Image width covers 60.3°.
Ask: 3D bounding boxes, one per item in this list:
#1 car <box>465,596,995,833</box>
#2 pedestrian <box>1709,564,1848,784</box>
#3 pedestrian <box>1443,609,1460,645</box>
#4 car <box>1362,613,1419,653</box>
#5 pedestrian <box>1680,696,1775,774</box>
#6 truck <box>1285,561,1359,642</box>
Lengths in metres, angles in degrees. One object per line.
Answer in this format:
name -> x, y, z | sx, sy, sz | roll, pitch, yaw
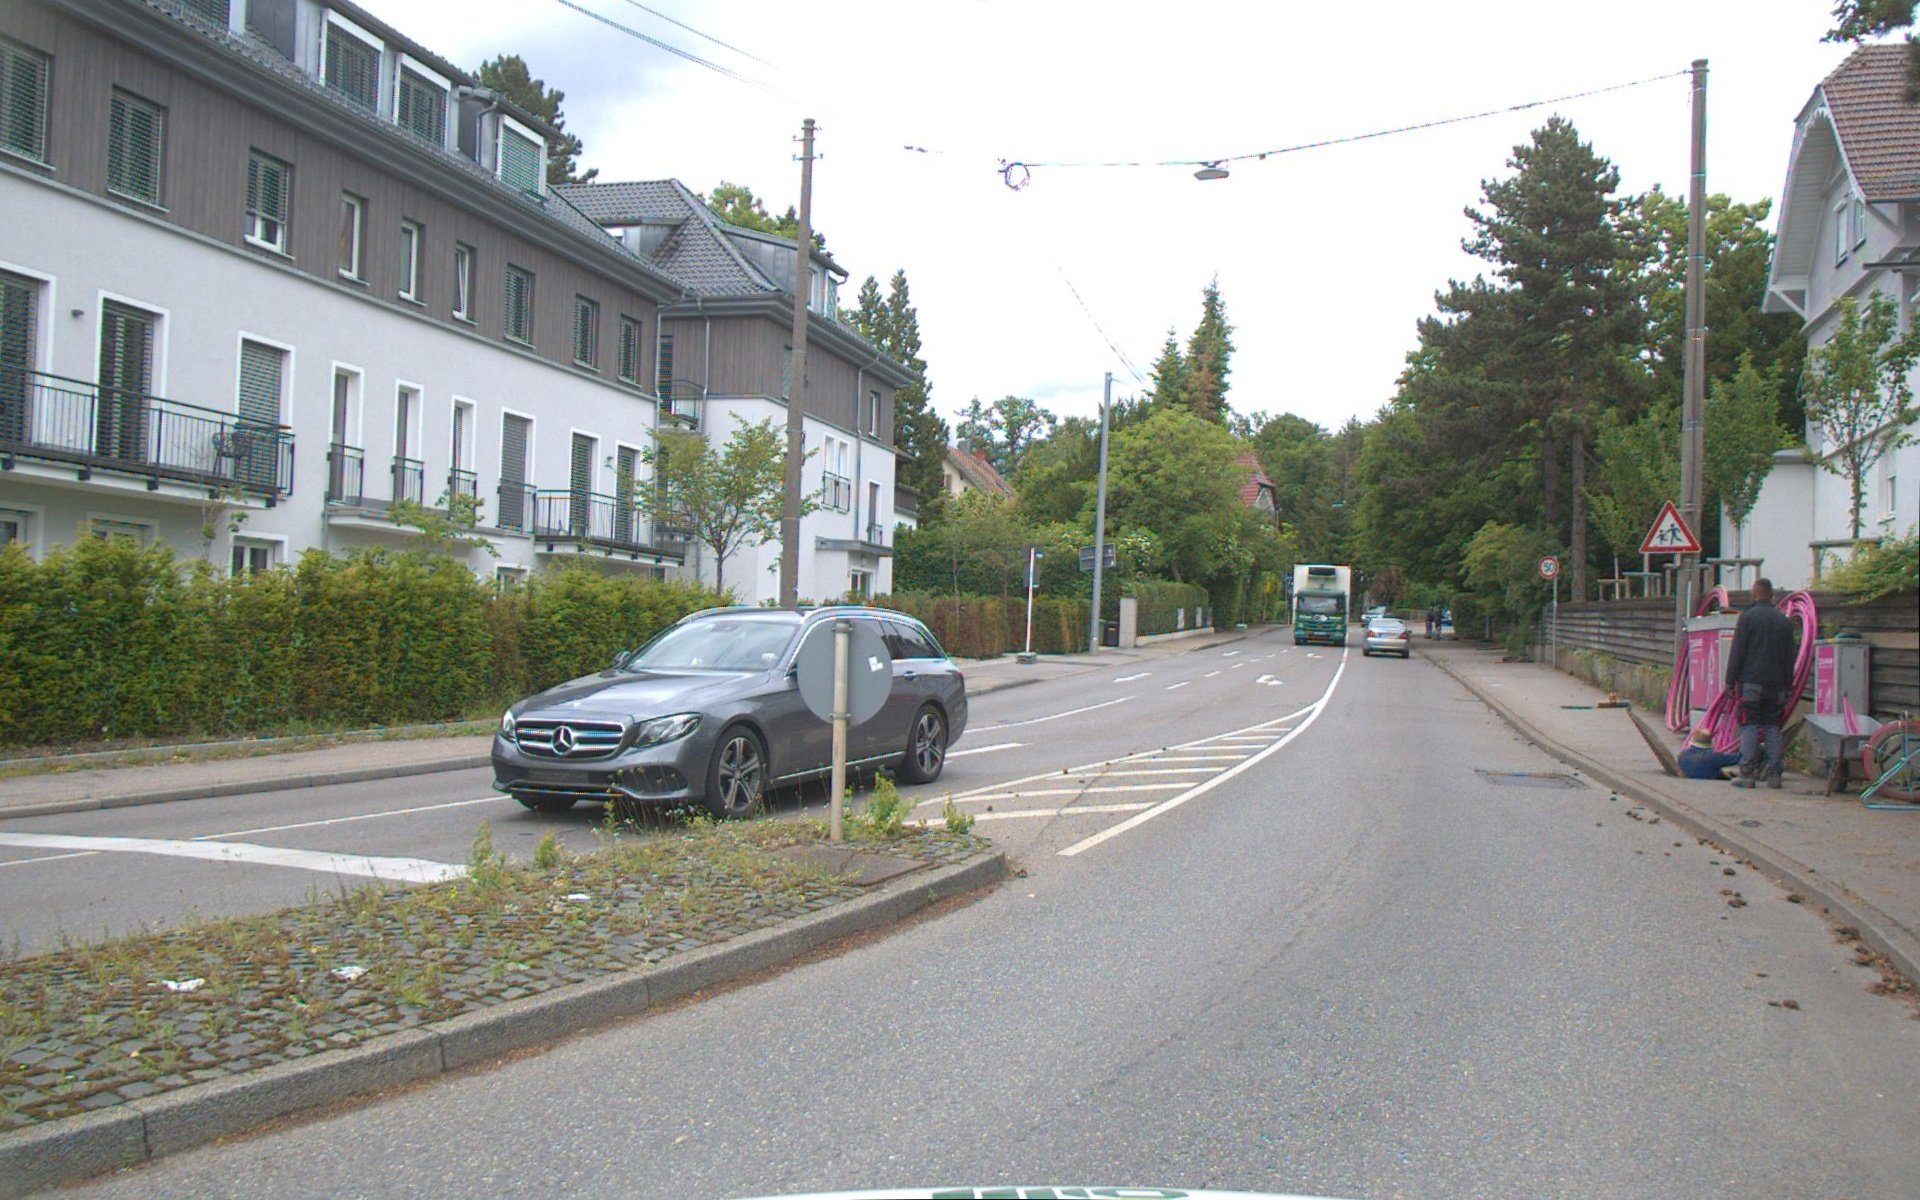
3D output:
car -> -1.538, 0.735, 13.063 | 1.790, 1.511, 4.742 | 0, 0, 27
pedestrian -> 7.538, 0.666, 15.261 | 0.829, 1.957, 0.800 | 1, 0, -5
pedestrian -> 25.748, 1.426, 86.710 | 0.790, 1.839, 0.741 | 1, 0, 14
car -> 16.203, 1.252, 62.394 | 1.759, 1.440, 4.339 | 1, -1, 11
pedestrian -> 7.616, 1.333, 16.421 | 0.637, 0.709, 0.580 | 1, 0, -27
truck -> 16.626, 0.135, 76.351 | 2.718, 3.522, 7.499 | 1, -1, 8
